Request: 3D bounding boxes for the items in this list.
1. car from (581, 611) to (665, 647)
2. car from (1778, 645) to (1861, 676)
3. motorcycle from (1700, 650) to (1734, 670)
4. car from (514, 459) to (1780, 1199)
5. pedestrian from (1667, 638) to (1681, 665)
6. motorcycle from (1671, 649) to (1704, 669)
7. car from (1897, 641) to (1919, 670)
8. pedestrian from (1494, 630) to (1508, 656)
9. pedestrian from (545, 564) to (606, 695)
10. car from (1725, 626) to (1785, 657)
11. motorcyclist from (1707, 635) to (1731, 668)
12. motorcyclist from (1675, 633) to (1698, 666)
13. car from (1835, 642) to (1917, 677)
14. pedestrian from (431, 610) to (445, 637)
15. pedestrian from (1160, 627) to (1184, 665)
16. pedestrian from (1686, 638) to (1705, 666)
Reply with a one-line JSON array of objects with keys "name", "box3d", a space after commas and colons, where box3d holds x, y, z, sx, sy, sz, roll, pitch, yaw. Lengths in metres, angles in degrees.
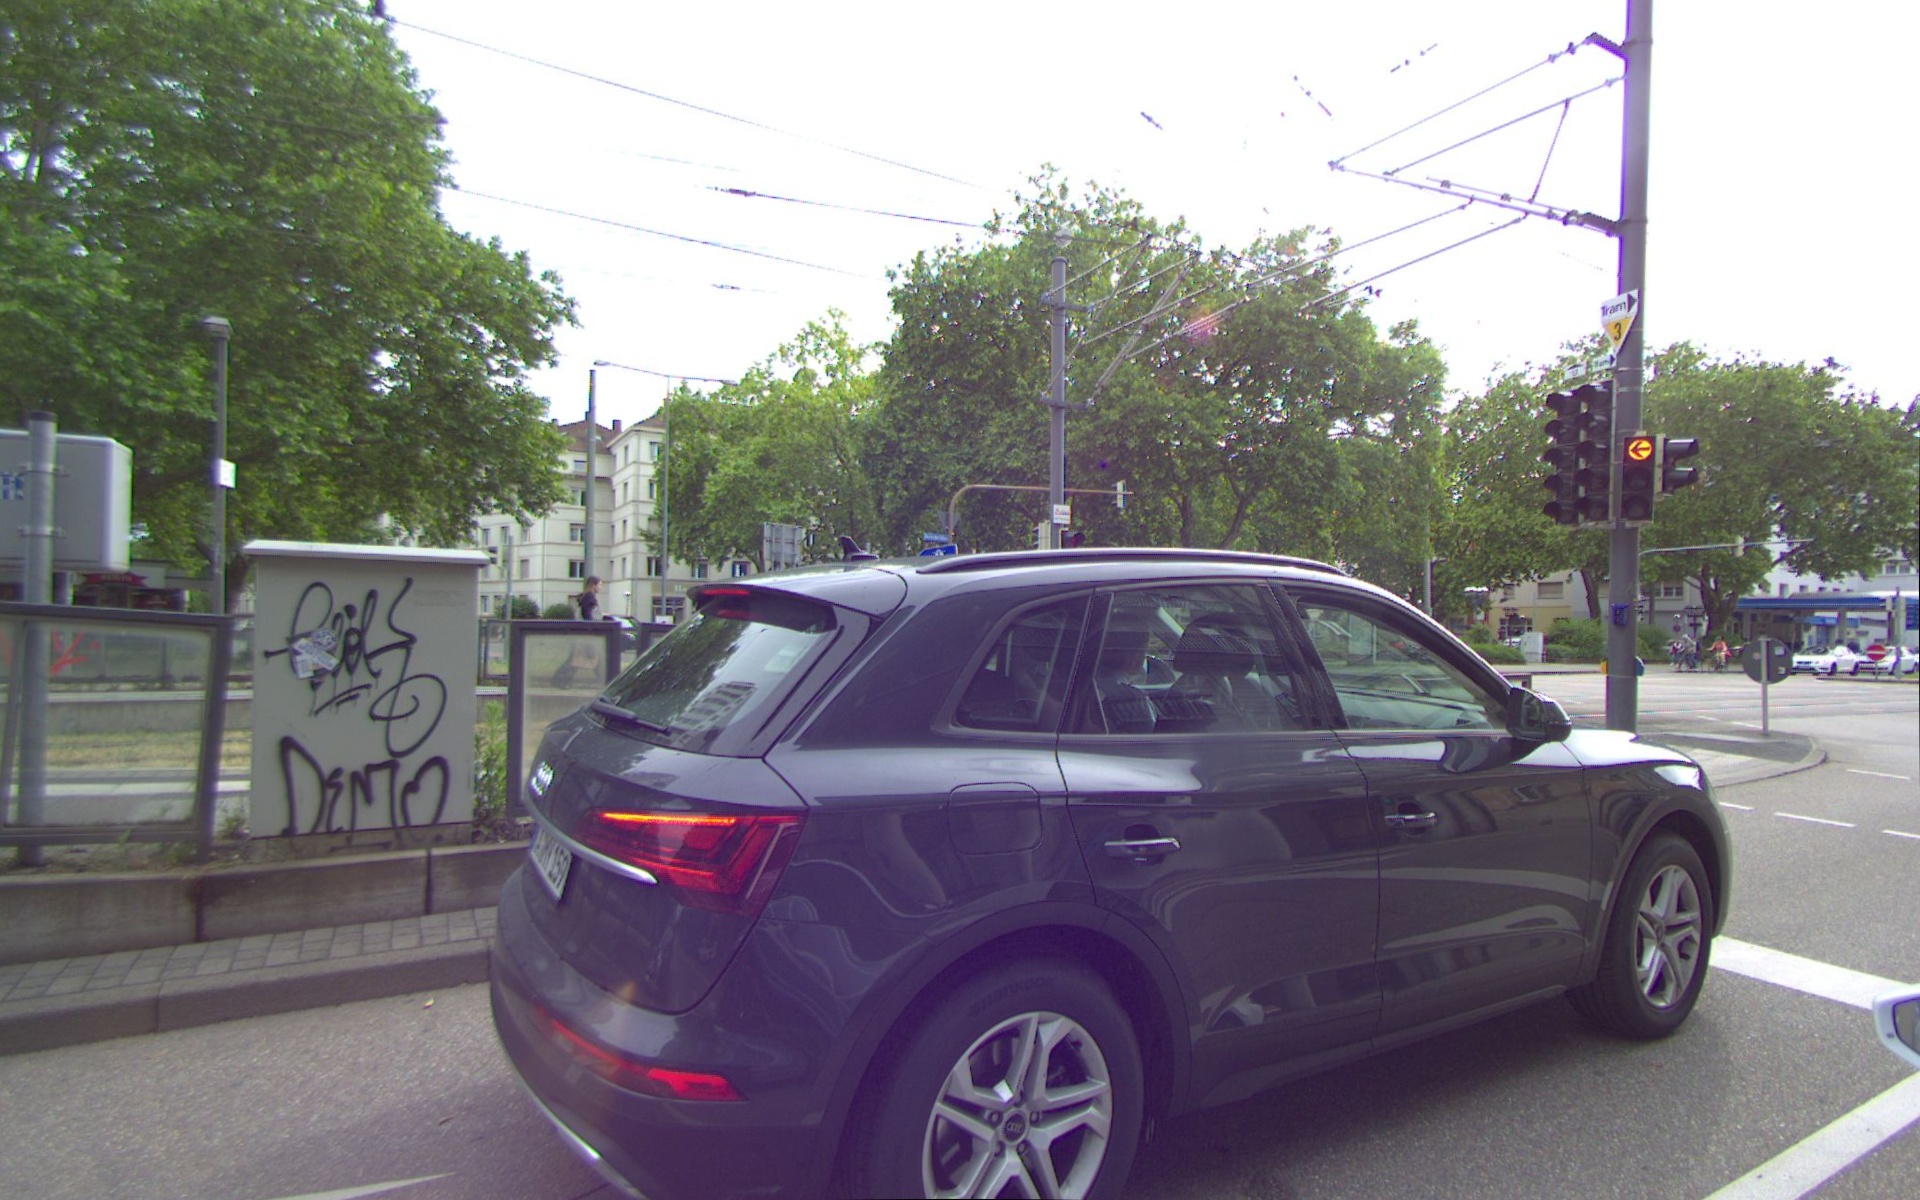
[{"name": "car", "box3d": [-17.229, 1.467, 51.301, 3.929, 1.706, 1.996, 0, -1, 31]}, {"name": "car", "box3d": [41.363, 2.908, 48.325, 4.025, 1.338, 1.739, 2, 0, -29]}, {"name": "motorcycle", "box3d": [36.026, 2.846, 47.783, 1.928, 0.941, 0.604, 2, -1, -30]}, {"name": "car", "box3d": [0.842, 0.647, 3.468, 4.177, 1.658, 1.725, 2, 0, -30]}, {"name": "pedestrian", "box3d": [39.313, 2.817, 55.322, 0.421, 1.479, 0.474, 2, -1, -30]}, {"name": "motorcycle", "box3d": [35.378, 2.846, 48.841, 1.928, 0.941, 0.604, 2, -1, -30]}, {"name": "car", "box3d": [52.799, 3.034, 54.610, 3.593, 1.497, 1.649, 2, 0, -29]}, {"name": "pedestrian", "box3d": [35.855, 2.832, 66.561, 0.599, 1.723, 0.604, 1, -1, -1]}, {"name": "pedestrian", "box3d": [-5.407, 0.403, 14.124, 0.658, 1.773, 0.732, 2, 0, -30]}, {"name": "car", "box3d": [54.988, 2.886, 69.478, 3.953, 2.040, 1.984, 2, -1, -30]}, {"name": "motorcyclist", "box3d": [36.165, 2.429, 47.863, 0.863, 1.540, 0.617, 2, -1, -30]}, {"name": "motorcyclist", "box3d": [35.287, 2.401, 48.794, 0.863, 1.540, 0.617, 2, -1, -30]}, {"name": "car", "box3d": [46.996, 3.023, 51.528, 3.953, 1.615, 1.984, 2, 0, -30]}, {"name": "pedestrian", "box3d": [-41.138, 1.850, 79.199, 0.658, 2.040, 0.675, 2, 0, 23]}, {"name": "pedestrian", "box3d": [8.608, 1.859, 40.791, 0.648, 1.530, 0.679, 0, -1, 44]}, {"name": "pedestrian", "box3d": [39.970, 2.838, 54.584, 0.550, 1.499, 0.644, 2, -1, -30]}]
